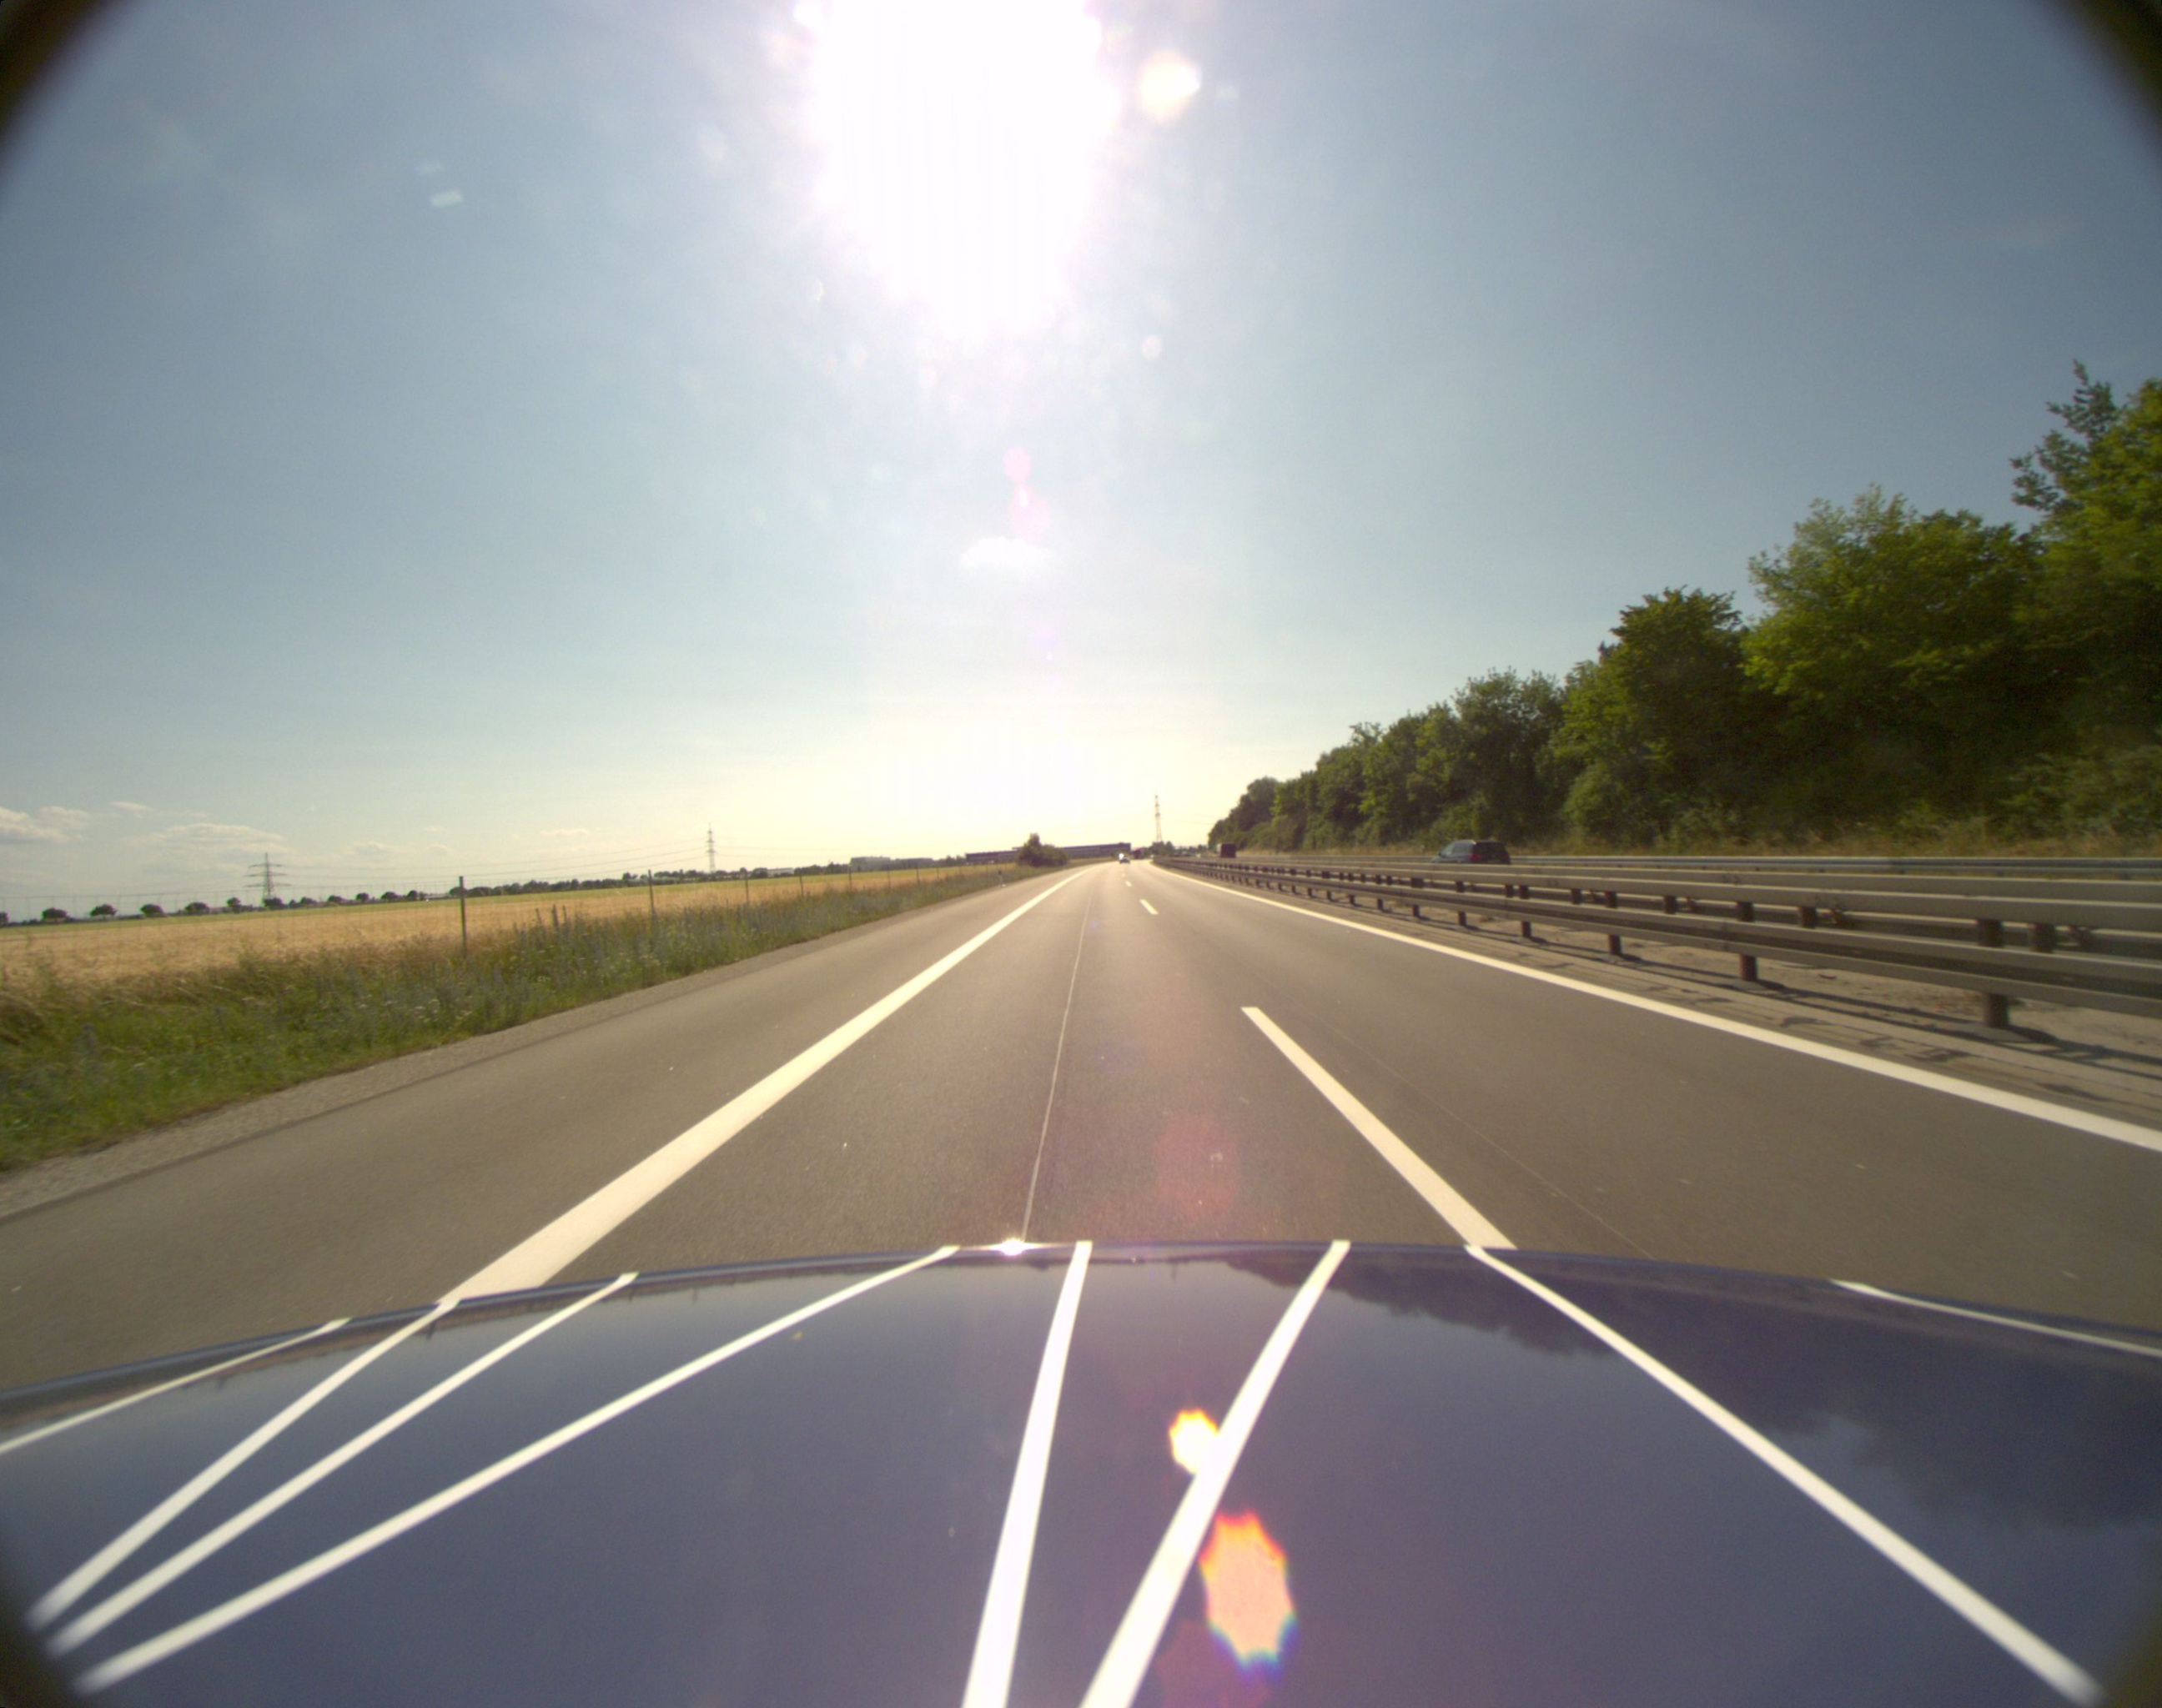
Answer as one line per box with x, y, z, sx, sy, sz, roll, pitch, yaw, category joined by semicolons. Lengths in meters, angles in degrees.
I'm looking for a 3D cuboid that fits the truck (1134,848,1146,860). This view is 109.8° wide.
19.560;0.007;251.527;2.569;3.938;8.650;-5;-1;10;truck

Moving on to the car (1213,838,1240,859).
19.250;-0.676;100.851;2.550;2.580;6.594;-3;0;2;car

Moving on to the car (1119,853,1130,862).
7.828;0.644;135.790;1.860;1.361;4.001;-3;0;4;car

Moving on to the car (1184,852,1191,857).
31.713;0.037;225.939;1.666;1.414;4.001;-2;0;5;car

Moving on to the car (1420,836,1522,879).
16.110;0.137;31.697;1.815;1.546;4.849;-3;0;1;car
